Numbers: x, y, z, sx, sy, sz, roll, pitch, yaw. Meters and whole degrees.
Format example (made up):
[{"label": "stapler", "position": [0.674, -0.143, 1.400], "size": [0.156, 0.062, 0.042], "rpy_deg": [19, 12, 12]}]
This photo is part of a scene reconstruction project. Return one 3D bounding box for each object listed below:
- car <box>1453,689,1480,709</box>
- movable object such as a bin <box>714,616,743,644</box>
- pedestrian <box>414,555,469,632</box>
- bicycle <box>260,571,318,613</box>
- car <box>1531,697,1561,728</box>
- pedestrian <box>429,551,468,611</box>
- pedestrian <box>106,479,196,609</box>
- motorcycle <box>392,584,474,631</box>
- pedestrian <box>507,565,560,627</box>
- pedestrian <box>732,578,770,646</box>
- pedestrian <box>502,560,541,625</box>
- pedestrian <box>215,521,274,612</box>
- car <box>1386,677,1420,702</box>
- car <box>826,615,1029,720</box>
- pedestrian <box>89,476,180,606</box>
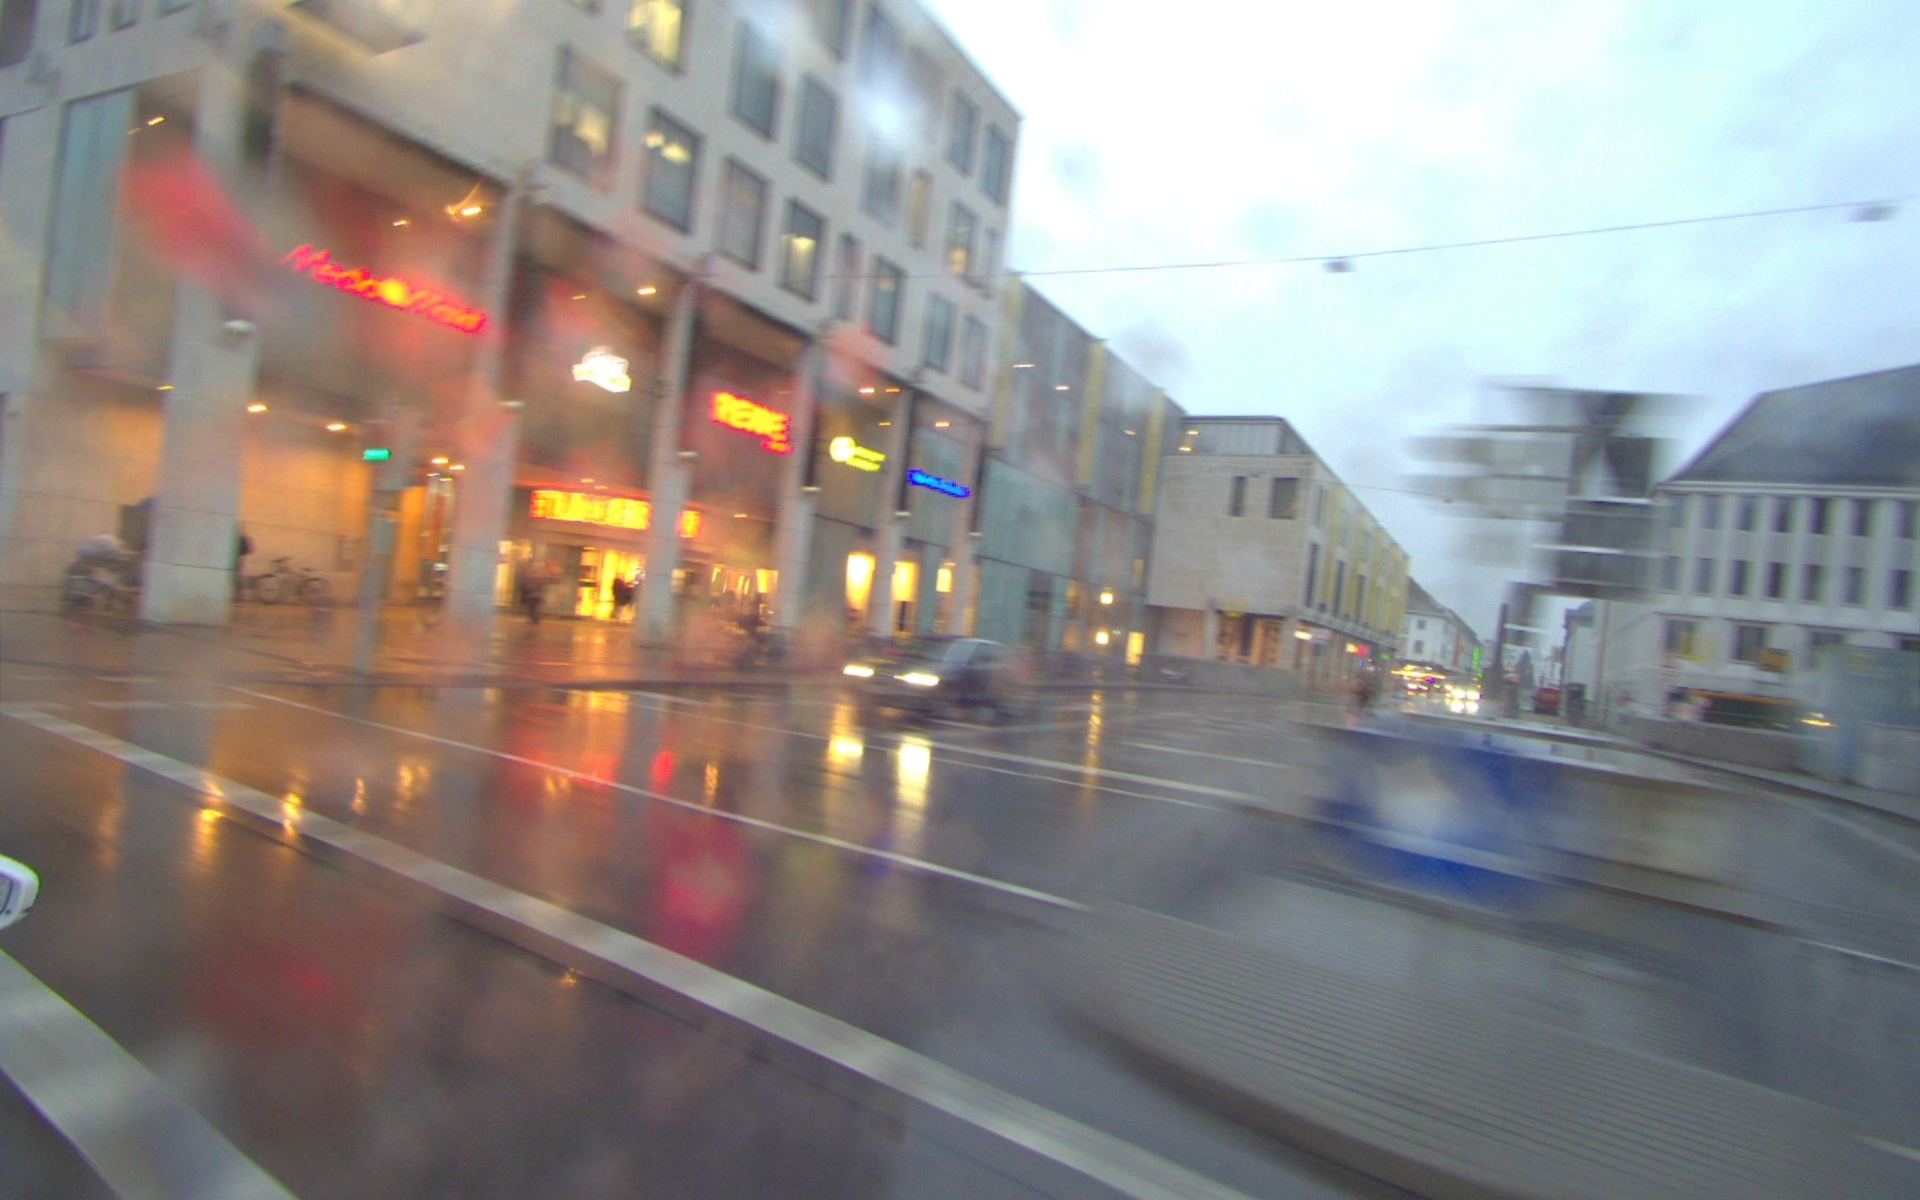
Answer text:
[{"label": "car", "position": [51.472, 10.023, 102.202], "size": [1.873, 1.706, 3.928], "rpy_deg": [6, -1, 32]}, {"label": "movable object such as a bin", "position": [-6.840, 0.892, 29.682], "size": [0.591, 0.714, 0.653], "rpy_deg": [8, -1, -29]}, {"label": "pedestrian", "position": [-11.728, -0.129, 22.780], "size": [0.492, 1.626, 0.779], "rpy_deg": [7, -1, 27]}, {"label": "bicycle", "position": [-15.527, -0.184, 23.294], "size": [0.338, 0.873, 1.068], "rpy_deg": [7, 0, 20]}, {"label": "car", "position": [53.537, 10.260, 91.952], "size": [1.935, 2.528, 3.998], "rpy_deg": [7, -2, 28]}, {"label": "pedestrian", "position": [-15.305, -0.568, 30.120], "size": [0.612, 1.693, 0.617], "rpy_deg": [8, -1, 6]}, {"label": "pedestrian", "position": [-14.495, -0.994, 18.030], "size": [0.572, 2.187, 0.964], "rpy_deg": [6, -1, 38]}, {"label": "motorcycle", "position": [-12.048, 0.194, 23.048], "size": [0.388, 0.900, 1.637], "rpy_deg": [7, -2, 27]}, {"label": "pedestrian", "position": [-11.575, -0.108, 27.315], "size": [0.808, 1.562, 0.896], "rpy_deg": [7, 0, 38]}, {"label": "pedestrian", "position": [-6.234, 0.348, 30.008], "size": [0.621, 1.930, 0.835], "rpy_deg": [8, -1, -31]}, {"label": "pedestrian", "position": [-12.257, -0.214, 28.110], "size": [0.616, 1.722, 0.613], "rpy_deg": [7, -1, 44]}, {"label": "pedestrian", "position": [-15.239, -0.712, 21.439], "size": [0.613, 1.826, 0.616], "rpy_deg": [7, -1, 27]}, {"label": "car", "position": [36.363, 7.334, 82.468], "size": [1.873, 1.706, 3.928], "rpy_deg": [6, -1, 32]}, {"label": "car", "position": [-0.457, 1.198, 17.824], "size": [1.825, 1.509, 3.824], "rpy_deg": [5, -2, 28]}, {"label": "pedestrian", "position": [-15.066, -1.066, 18.367], "size": [0.700, 2.218, 0.958], "rpy_deg": [6, -1, 38]}]
